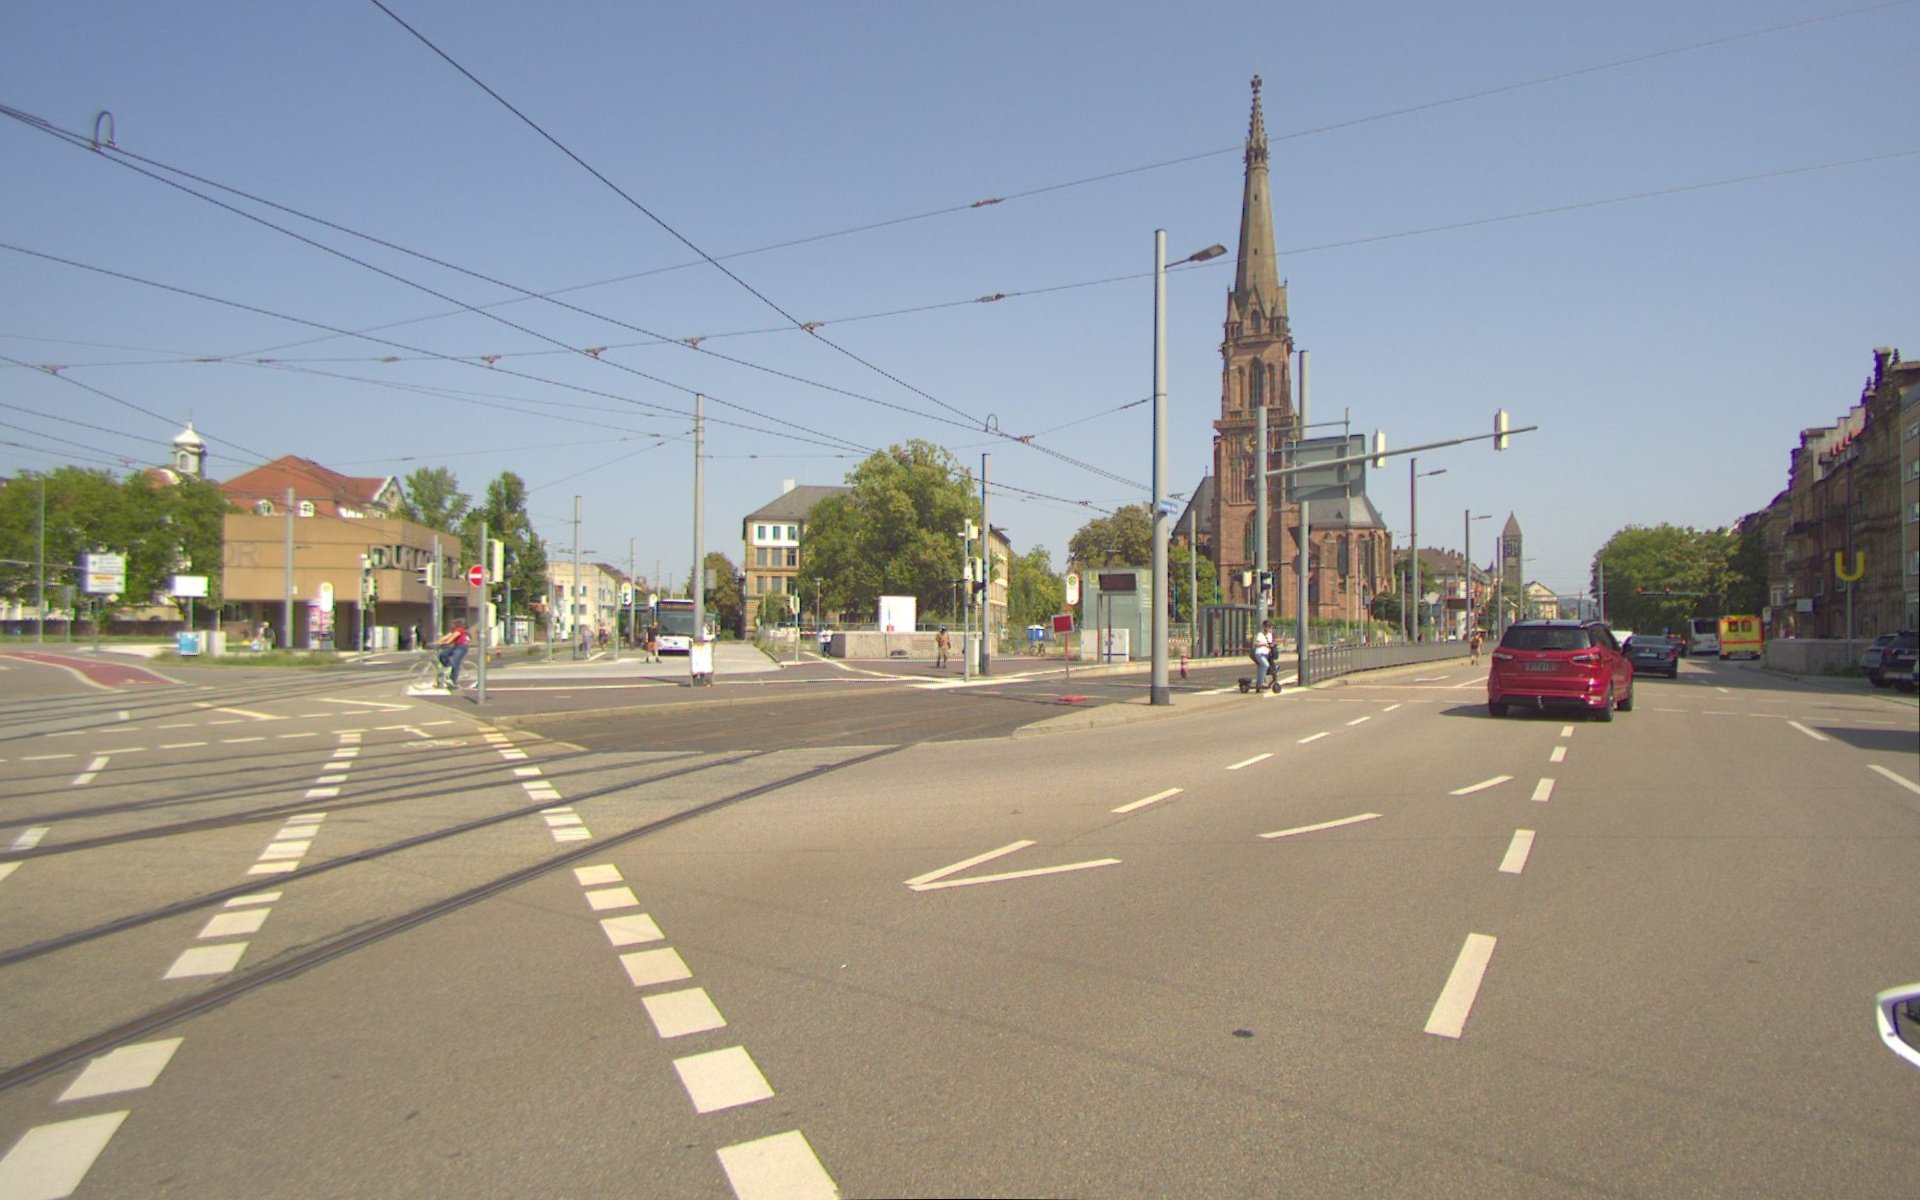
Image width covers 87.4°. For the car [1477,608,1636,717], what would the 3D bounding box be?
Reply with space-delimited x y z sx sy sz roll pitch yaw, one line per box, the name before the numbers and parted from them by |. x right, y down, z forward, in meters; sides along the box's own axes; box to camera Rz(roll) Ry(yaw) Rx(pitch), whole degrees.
car | 10.386 1.047 17.357 1.742 1.639 4.064 -2 -3 40

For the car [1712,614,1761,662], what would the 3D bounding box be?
car | 50.129 2.439 64.948 2.270 2.926 5.578 -2 -2 36

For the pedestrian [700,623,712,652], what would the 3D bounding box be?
pedestrian | -13.795 2.038 54.562 0.567 1.548 0.599 1 -2 -11

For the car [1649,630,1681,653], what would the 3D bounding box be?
car | 53.962 3.171 76.956 1.765 1.699 3.991 0 -3 32

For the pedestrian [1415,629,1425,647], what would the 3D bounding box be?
pedestrian | 45.341 3.739 99.027 0.818 1.774 0.718 -1 -2 34

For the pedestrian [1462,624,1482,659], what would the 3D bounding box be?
pedestrian | 26.218 2.126 51.421 0.751 1.774 1.065 -1 -2 36

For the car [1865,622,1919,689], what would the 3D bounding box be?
car | 26.699 1.434 26.438 4.312 1.710 1.984 0 -1 -8

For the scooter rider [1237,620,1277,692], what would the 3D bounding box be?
scooter rider | 7.307 1.384 24.711 0.760 1.694 0.778 -1 -7 29

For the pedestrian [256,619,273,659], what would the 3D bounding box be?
pedestrian | -32.557 1.833 47.038 0.557 1.840 0.553 1 -2 -43

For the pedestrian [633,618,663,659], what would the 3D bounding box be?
pedestrian | -13.871 1.735 44.712 0.773 1.803 0.956 -1 -3 36

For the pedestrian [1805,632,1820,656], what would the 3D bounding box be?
pedestrian | 59.414 3.060 70.005 0.687 1.689 1.061 0 -2 35

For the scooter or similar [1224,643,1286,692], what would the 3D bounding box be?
scooter or similar | 7.240 1.647 24.676 1.319 1.163 0.708 -1 -2 31

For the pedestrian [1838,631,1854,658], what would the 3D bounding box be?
pedestrian | 56.120 2.803 63.628 0.687 1.689 0.601 0 -1 35

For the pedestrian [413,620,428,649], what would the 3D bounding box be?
pedestrian | -30.579 1.955 56.955 0.503 1.667 0.569 -1 0 36

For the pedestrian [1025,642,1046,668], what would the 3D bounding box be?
pedestrian | 4.517 3.269 60.229 0.605 1.505 1.690 0 -2 -21

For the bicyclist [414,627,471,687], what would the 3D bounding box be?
bicyclist | -12.989 1.409 25.220 0.864 1.479 0.976 -1 -2 37

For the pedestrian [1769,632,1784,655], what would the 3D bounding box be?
pedestrian | 61.177 3.245 75.288 0.596 1.689 0.693 1 -1 -31

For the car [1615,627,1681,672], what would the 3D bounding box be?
car | 23.622 1.653 34.562 1.766 1.450 3.989 -1 -2 33

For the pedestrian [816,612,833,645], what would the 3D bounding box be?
pedestrian | -7.184 1.511 53.199 0.772 1.751 0.676 0 -1 -17

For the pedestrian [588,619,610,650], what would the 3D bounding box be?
pedestrian | -21.052 2.032 58.572 0.944 1.803 0.782 -1 -3 39

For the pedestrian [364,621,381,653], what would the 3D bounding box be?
pedestrian | -31.473 1.965 53.812 0.568 1.698 0.586 -1 0 -10

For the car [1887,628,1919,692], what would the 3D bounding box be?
car | 24.769 1.505 23.955 3.712 1.520 1.806 2 0 -3

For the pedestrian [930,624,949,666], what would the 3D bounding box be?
pedestrian | -0.837 1.830 41.026 0.562 1.681 0.801 0 1 15

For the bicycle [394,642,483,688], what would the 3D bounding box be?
bicycle | -13.052 1.608 25.172 0.605 1.083 1.906 -1 -2 36

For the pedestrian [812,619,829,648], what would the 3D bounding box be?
pedestrian | -7.682 1.822 55.233 0.772 1.569 0.676 2 -2 -17

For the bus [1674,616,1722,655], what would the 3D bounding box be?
bus | 62.957 3.037 85.874 2.499 3.071 12.404 -1 -2 33

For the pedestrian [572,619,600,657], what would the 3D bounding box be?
pedestrian | -18.121 1.844 48.707 0.773 1.803 0.956 -1 -3 36

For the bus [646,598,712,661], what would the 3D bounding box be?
bus | -16.692 1.766 60.427 2.630 3.375 12.736 0 -2 -10

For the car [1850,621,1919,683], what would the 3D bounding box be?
car | 29.064 1.492 29.408 4.580 1.736 2.041 0 -1 -9

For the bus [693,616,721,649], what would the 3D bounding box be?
bus | -26.239 3.300 104.549 2.498 3.072 12.405 -1 0 -13

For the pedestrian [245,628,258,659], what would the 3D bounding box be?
pedestrian | -32.672 2.006 46.331 0.458 1.393 0.345 1 -2 -43

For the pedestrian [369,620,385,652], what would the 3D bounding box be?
pedestrian | -31.644 1.968 54.524 0.568 1.698 0.586 -1 0 -10

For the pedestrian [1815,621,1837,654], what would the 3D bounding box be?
pedestrian | 47.049 2.056 54.579 0.840 1.752 0.966 -2 0 40

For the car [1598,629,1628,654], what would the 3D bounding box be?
car | 49.020 3.117 75.408 1.765 1.803 3.991 0 -3 32
